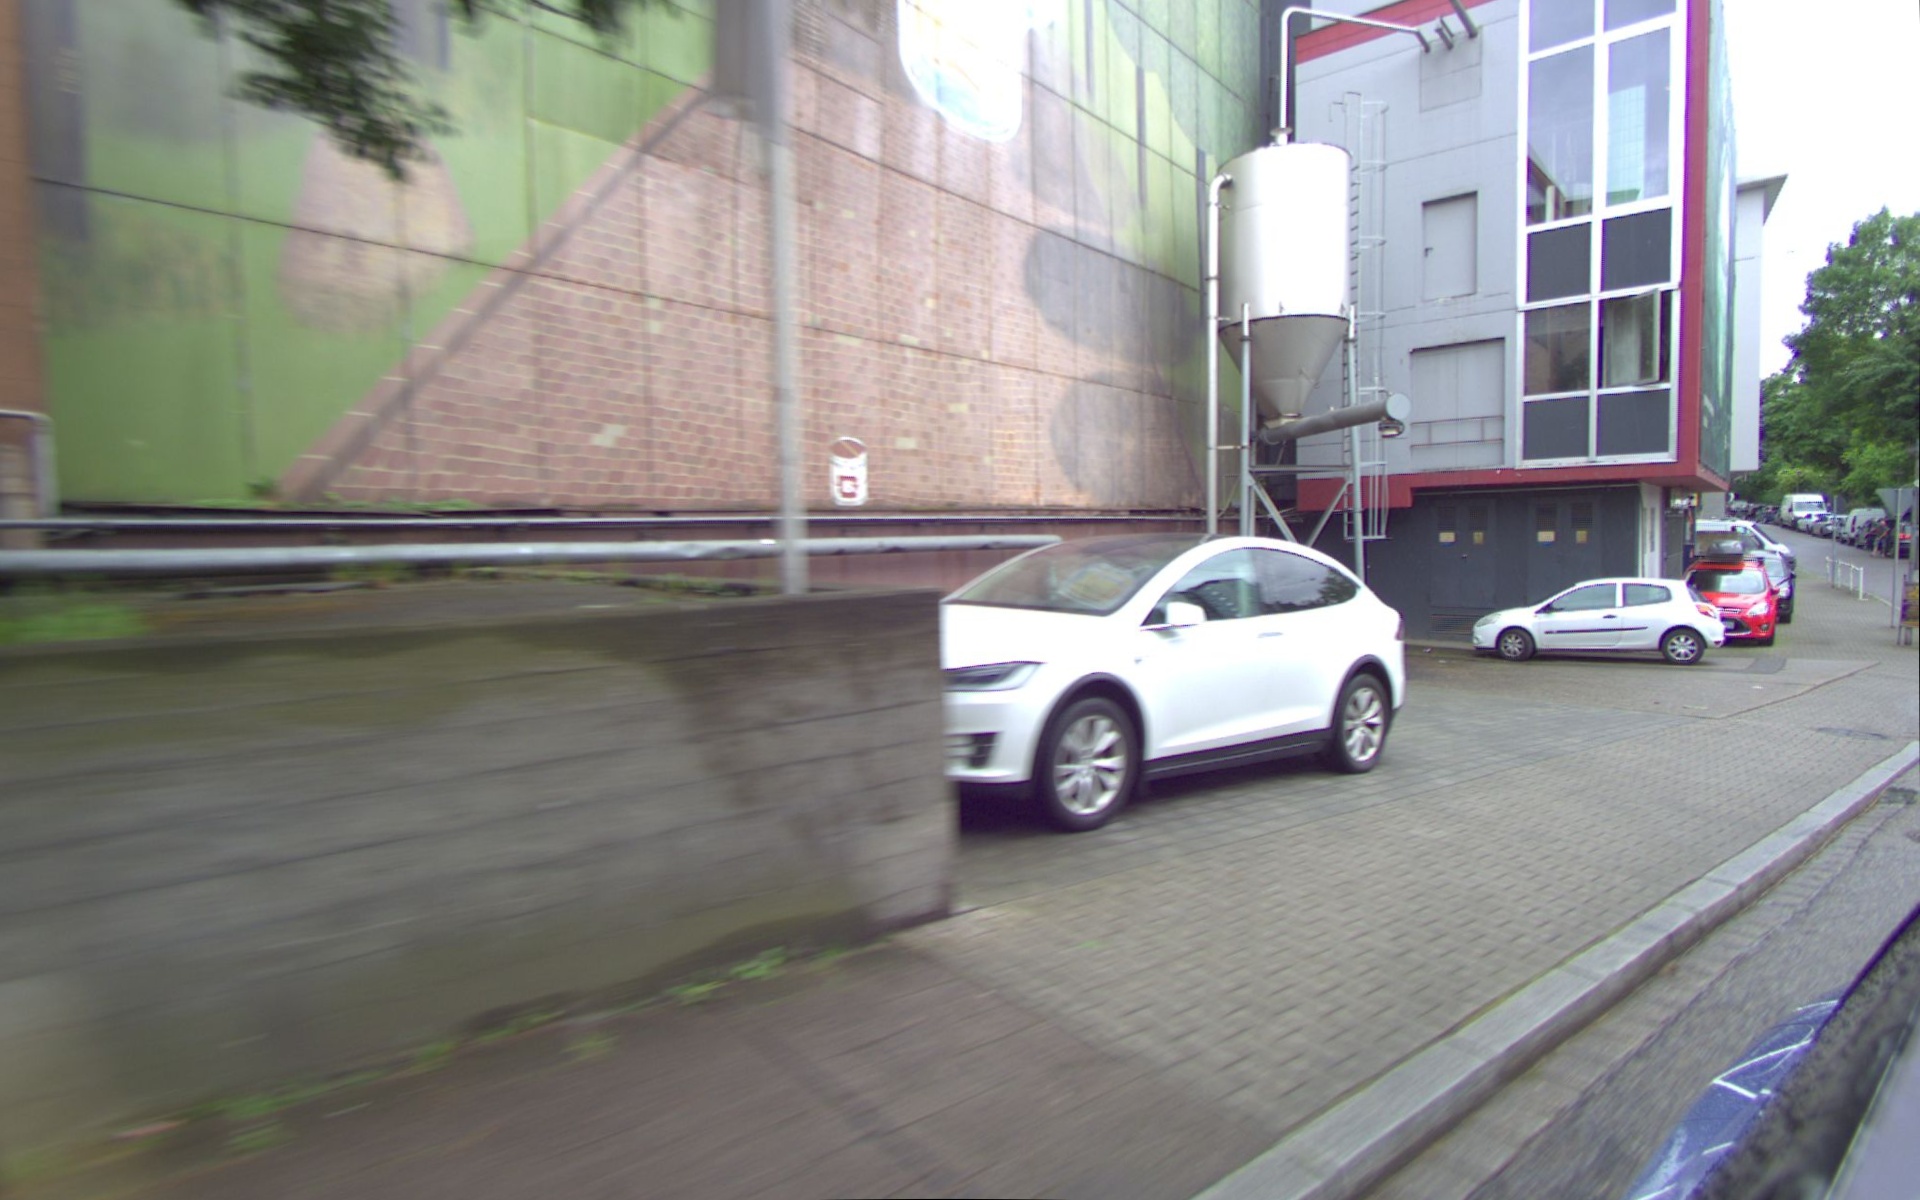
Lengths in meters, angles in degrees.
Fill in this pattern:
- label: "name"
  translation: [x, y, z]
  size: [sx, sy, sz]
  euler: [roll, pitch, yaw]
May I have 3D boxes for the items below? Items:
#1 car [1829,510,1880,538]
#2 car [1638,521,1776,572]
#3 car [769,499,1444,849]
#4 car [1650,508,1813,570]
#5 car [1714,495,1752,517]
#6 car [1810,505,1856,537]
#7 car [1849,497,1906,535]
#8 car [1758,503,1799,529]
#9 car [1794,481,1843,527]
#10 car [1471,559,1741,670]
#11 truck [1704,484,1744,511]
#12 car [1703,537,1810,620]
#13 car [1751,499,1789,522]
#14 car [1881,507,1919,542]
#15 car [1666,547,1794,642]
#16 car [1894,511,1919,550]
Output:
- label: "car"
  translation: [56.012, -4.782, 63.444]
  size: [1.898, 1.670, 3.952]
  euler: [3, 7, 36]
- label: "car"
  translation: [28.566, -2.113, 38.771]
  size: [3.990, 1.712, 1.855]
  euler: [6, 9, 44]
- label: "car"
  translation: [1.293, 0.311, 7.000]
  size: [4.828, 1.637, 1.857]
  euler: [0, 2, -41]
- label: "car"
  translation: [30.543, -2.482, 40.179]
  size: [4.880, 2.236, 1.855]
  euler: [6, 9, 44]
- label: "car"
  translation: [73.952, -9.000, 96.853]
  size: [1.888, 1.963, 3.972]
  euler: [1, 6, 24]
- label: "car"
  translation: [59.475, -5.389, 69.015]
  size: [1.898, 2.058, 3.952]
  euler: [3, 6, 36]
- label: "car"
  translation: [52.363, -4.817, 57.823]
  size: [1.898, 2.099, 3.952]
  euler: [3, 6, 36]
- label: "car"
  translation: [67.737, -7.007, 83.813]
  size: [1.892, 2.058, 3.964]
  euler: [2, 6, 29]
- label: "car"
  translation: [63.753, -7.129, 75.206]
  size: [2.210, 3.320, 5.019]
  euler: [3, 6, 36]
- label: "car"
  translation: [11.852, 0.166, 18.716]
  size: [3.973, 1.550, 1.851]
  euler: [6, 7, 37]
- label: "truck"
  translation: [77.782, -10.415, 103.129]
  size: [2.026, 2.659, 3.979]
  euler: [1, 6, 20]
- label: "car"
  translation: [20.405, -0.631, 25.879]
  size: [1.925, 1.731, 3.945]
  euler: [5, 8, 40]
- label: "car"
  translation: [72.598, -8.057, 90.751]
  size: [1.892, 1.963, 3.964]
  euler: [2, 6, 29]
- label: "car"
  translation: [48.747, -3.870, 51.746]
  size: [1.898, 1.670, 3.952]
  euler: [3, 7, 36]
- label: "car"
  translation: [16.684, -0.229, 21.842]
  size: [1.925, 1.731, 4.429]
  euler: [4, 6, 40]
- label: "car"
  translation: [44.659, -3.240, 46.606]
  size: [1.898, 1.670, 3.952]
  euler: [3, 7, 36]
